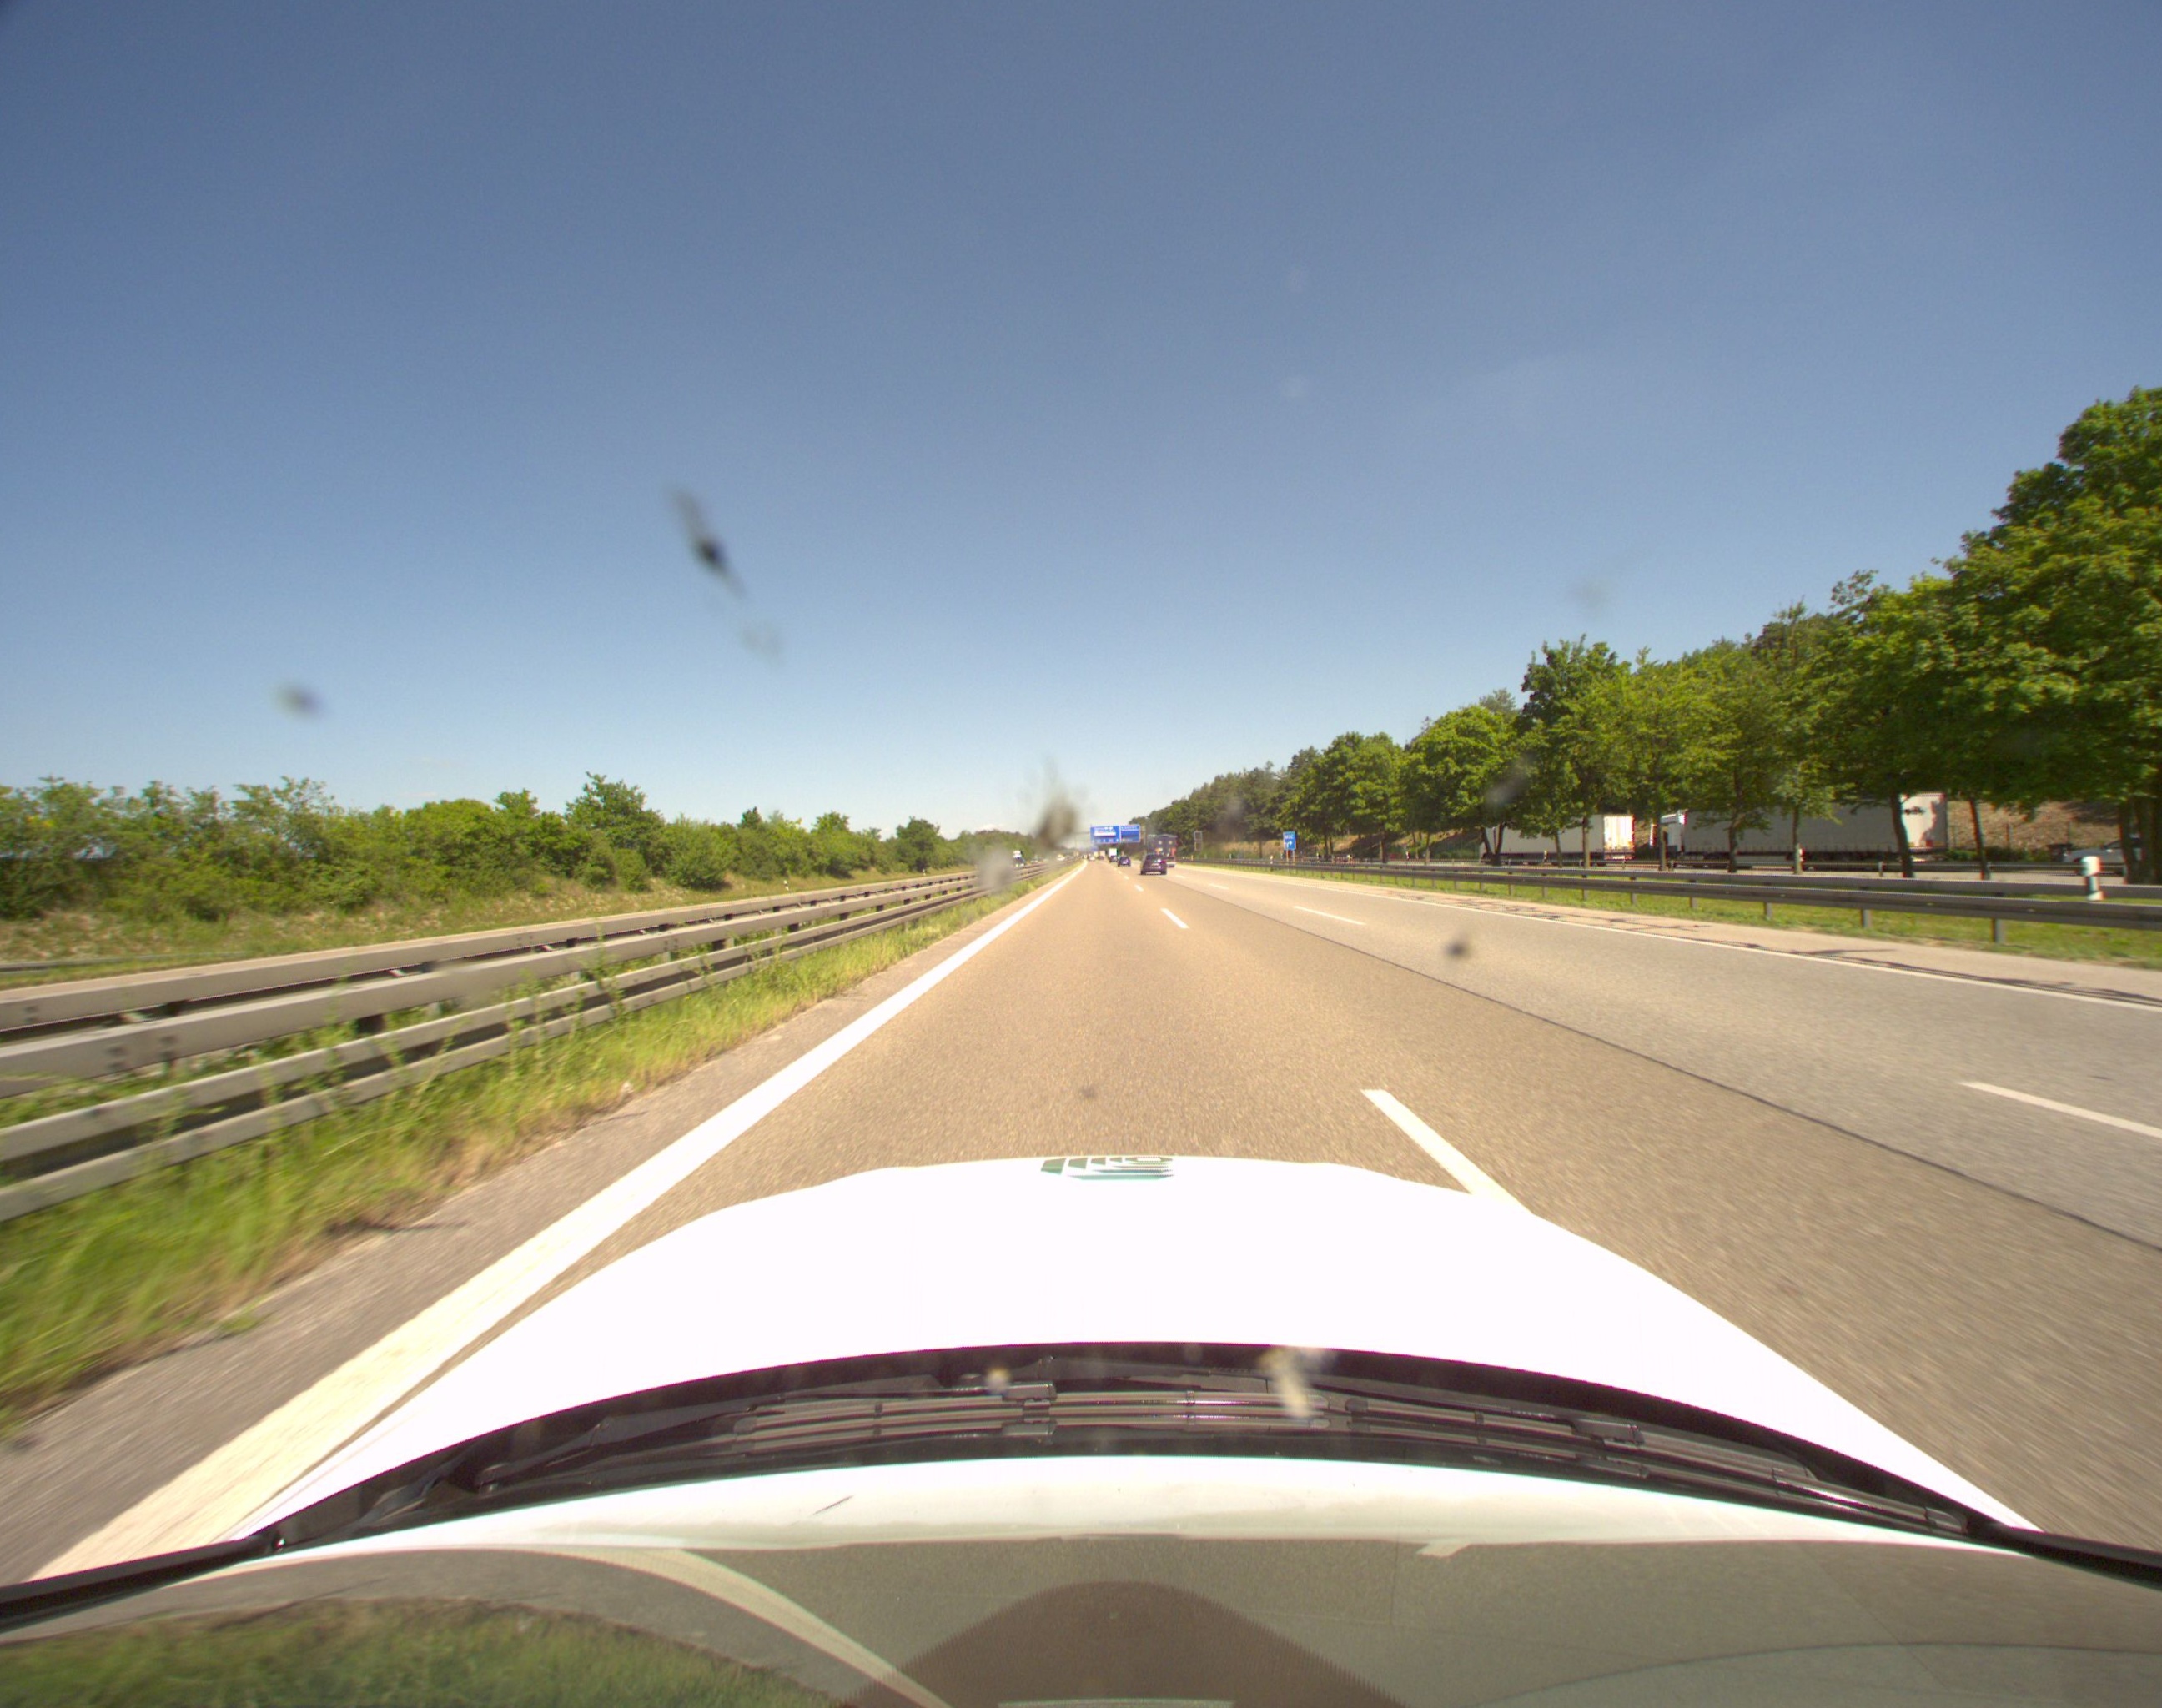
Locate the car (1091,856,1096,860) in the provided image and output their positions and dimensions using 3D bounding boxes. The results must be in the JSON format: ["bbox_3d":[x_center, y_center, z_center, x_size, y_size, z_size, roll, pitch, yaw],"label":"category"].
[{"bbox_3d":[3.752,1.208,238.553,1.465,1.227,3.412,-2,0,2],"label":"car"}]

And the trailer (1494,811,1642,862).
[{"bbox_3d":[40.481,-1.288,68.722,2.853,3.797,14.162,-1,0,-5],"label":"trailer"}]

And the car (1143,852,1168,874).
[{"bbox_3d":[5.702,0.675,62.567,1.791,1.669,4.264,0,0,5],"label":"car"}]

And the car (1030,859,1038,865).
[{"bbox_3d":[-12.724,2.113,220.434,1.781,1.439,4.523,-1,0,2],"label":"car"}]

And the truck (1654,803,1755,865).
[{"bbox_3d":[41.930,-1.268,54.940,2.963,3.931,4.828,-1,-1,-3],"label":"truck"}]

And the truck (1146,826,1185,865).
[{"bbox_3d":[10.214,-0.931,100.157,3.765,4.422,14.057,-1,0,2],"label":"truck"}]

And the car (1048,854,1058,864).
[{"bbox_3d":[-6.061,1.128,177.310,1.986,2.013,4.001,-2,0,2],"label":"car"}]

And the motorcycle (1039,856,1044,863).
[{"bbox_3d":[-6.394,0.947,132.231,0.661,1.076,1.882,-3,-1,2],"label":"motorcycle"}]

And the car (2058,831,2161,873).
[{"bbox_3d":[42.435,-0.088,32.410,1.650,1.597,4.556,-1,0,1],"label":"car"}]

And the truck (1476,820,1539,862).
[{"bbox_3d":[39.775,-1.175,76.101,2.804,3.797,5.135,-1,0,-5],"label":"truck"}]

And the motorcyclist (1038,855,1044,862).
[{"bbox_3d":[-6.453,0.739,132.078,0.872,1.076,0.811,-3,-1,1],"label":"motorcyclist"}]

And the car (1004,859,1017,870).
[{"bbox_3d":[-10.544,1.568,122.091,1.507,1.486,3.374,-2,0,2],"label":"car"}]

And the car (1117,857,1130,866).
[{"bbox_3d":[5.942,1.079,113.032,1.702,1.155,3.691,-2,0,2],"label":"car"}]

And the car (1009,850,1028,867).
[{"bbox_3d":[-8.249,0.643,108.182,1.986,2.109,4.304,-3,0,2],"label":"car"}]

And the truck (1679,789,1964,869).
[{"bbox_3d":[42.263,-1.208,47.839,2.989,3.931,14.445,-1,0,-3],"label":"truck"}]

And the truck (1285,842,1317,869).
[{"bbox_3d":[32.240,0.203,119.625,2.573,3.915,4.846,-1,-1,-12],"label":"truck"}]

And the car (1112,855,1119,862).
[{"bbox_3d":[7.289,1.028,171.893,1.465,1.398,3.412,1,0,2],"label":"car"}]

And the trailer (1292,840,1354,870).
[{"bbox_3d":[33.479,0.129,113.441,2.573,3.915,12.698,-1,0,-11],"label":"trailer"}]
